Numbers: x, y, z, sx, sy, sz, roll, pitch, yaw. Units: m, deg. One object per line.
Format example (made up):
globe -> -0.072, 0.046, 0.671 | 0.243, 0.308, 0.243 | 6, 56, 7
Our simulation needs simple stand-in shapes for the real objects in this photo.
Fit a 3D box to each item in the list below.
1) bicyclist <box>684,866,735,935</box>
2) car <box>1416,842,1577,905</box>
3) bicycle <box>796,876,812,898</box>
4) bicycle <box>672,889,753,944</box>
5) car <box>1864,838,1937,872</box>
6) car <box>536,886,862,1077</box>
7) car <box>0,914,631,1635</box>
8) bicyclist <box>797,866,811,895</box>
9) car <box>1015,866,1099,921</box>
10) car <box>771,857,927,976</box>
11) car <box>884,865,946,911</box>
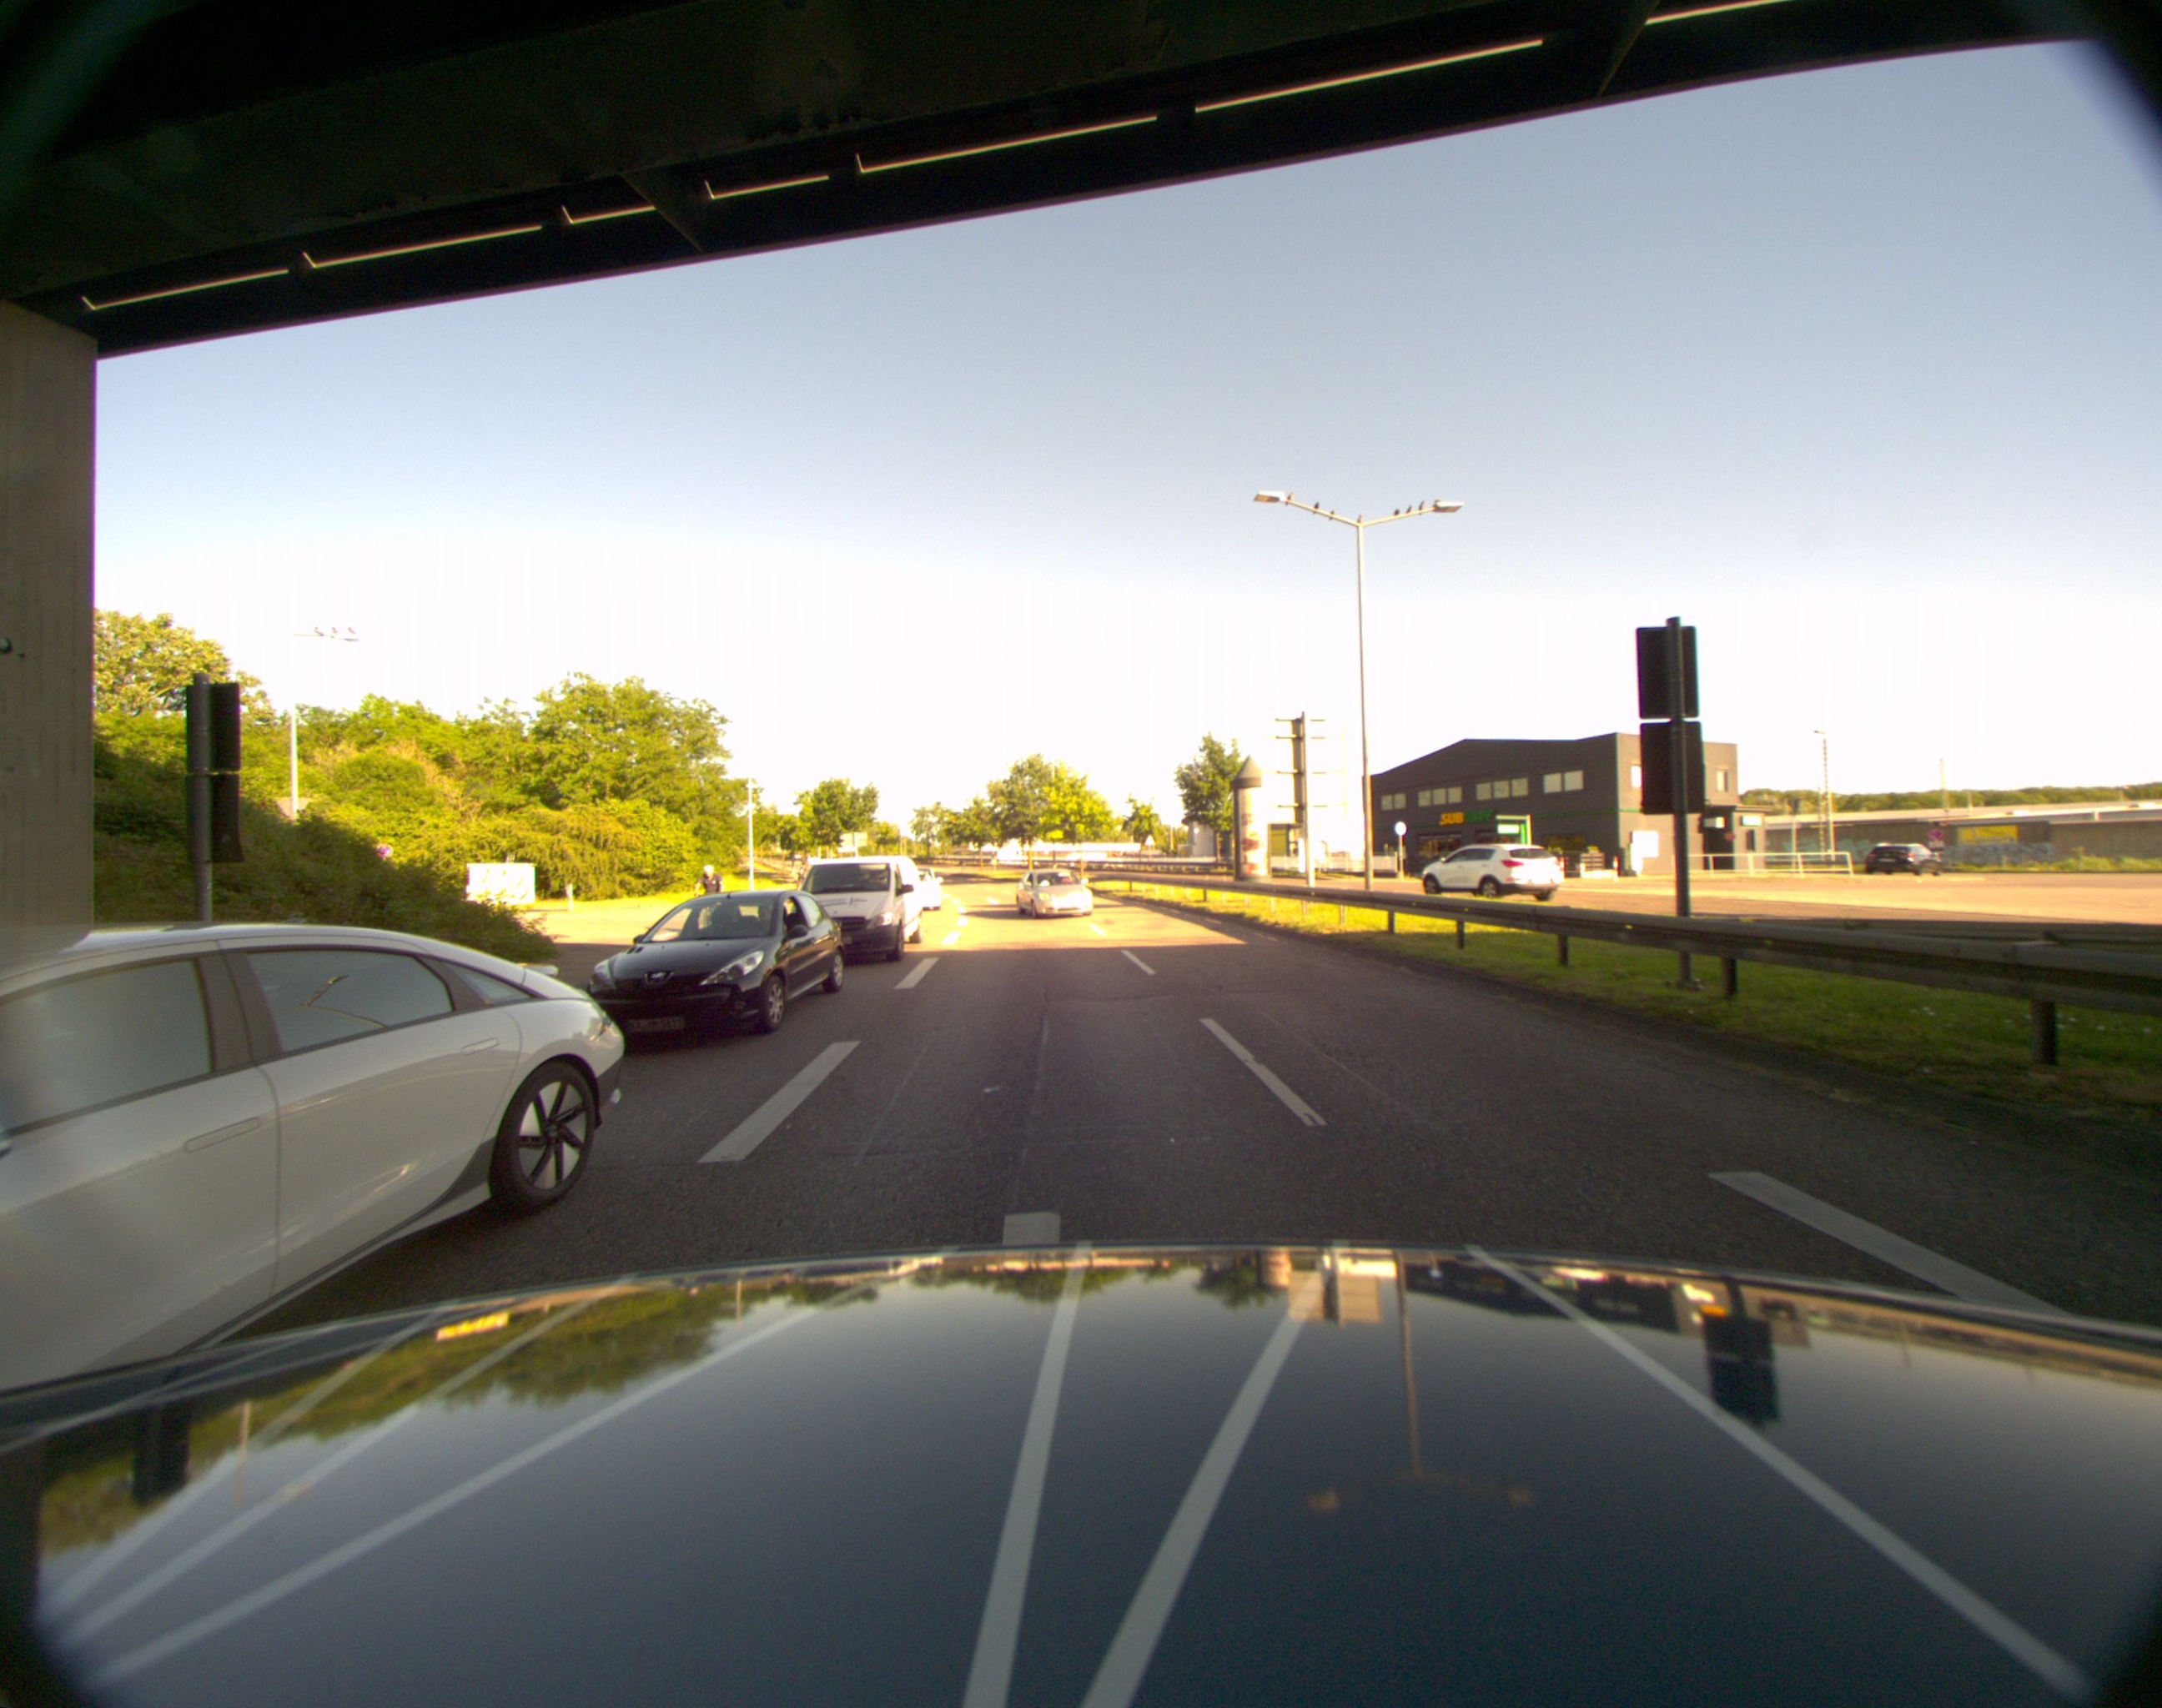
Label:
bicyclist -> -9.259, 1.144, 18.989 | 0.748, 1.646, 0.886 | -3, 1, 1
car -> 11.922, 0.506, 22.170 | 1.806, 1.597, 4.292 | -2, 0, -10
bicycle -> -15.187, 1.786, 41.645 | 0.654, 1.160, 1.775 | 1, -1, -23
bicycle -> -9.235, 1.541, 19.172 | 0.767, 1.139, 2.469 | -3, 1, 1
car -> 39.070, 0.022, 36.207 | 4.007, 1.434, 1.878 | -3, 1, -36
car -> -3.863, 1.188, 8.481 | 1.750, 1.447, 3.716 | -2, 0, -1
car -> -3.397, 1.100, 2.064 | 1.750, 1.447, 4.662 | -2, 0, -3
bicyclist -> -15.149, 1.443, 41.580 | 0.656, 1.524, 0.845 | 1, -1, -23
car -> -0.861, 1.156, 23.766 | 1.702, 1.446, 4.393 | -2, 0, -13
car -> -4.203, 1.048, 14.617 | 1.903, 1.825, 4.833 | -2, -1, -6
car -> -6.359, 1.248, 29.565 | 2.000, 1.542, 4.417 | -2, 0, -9
